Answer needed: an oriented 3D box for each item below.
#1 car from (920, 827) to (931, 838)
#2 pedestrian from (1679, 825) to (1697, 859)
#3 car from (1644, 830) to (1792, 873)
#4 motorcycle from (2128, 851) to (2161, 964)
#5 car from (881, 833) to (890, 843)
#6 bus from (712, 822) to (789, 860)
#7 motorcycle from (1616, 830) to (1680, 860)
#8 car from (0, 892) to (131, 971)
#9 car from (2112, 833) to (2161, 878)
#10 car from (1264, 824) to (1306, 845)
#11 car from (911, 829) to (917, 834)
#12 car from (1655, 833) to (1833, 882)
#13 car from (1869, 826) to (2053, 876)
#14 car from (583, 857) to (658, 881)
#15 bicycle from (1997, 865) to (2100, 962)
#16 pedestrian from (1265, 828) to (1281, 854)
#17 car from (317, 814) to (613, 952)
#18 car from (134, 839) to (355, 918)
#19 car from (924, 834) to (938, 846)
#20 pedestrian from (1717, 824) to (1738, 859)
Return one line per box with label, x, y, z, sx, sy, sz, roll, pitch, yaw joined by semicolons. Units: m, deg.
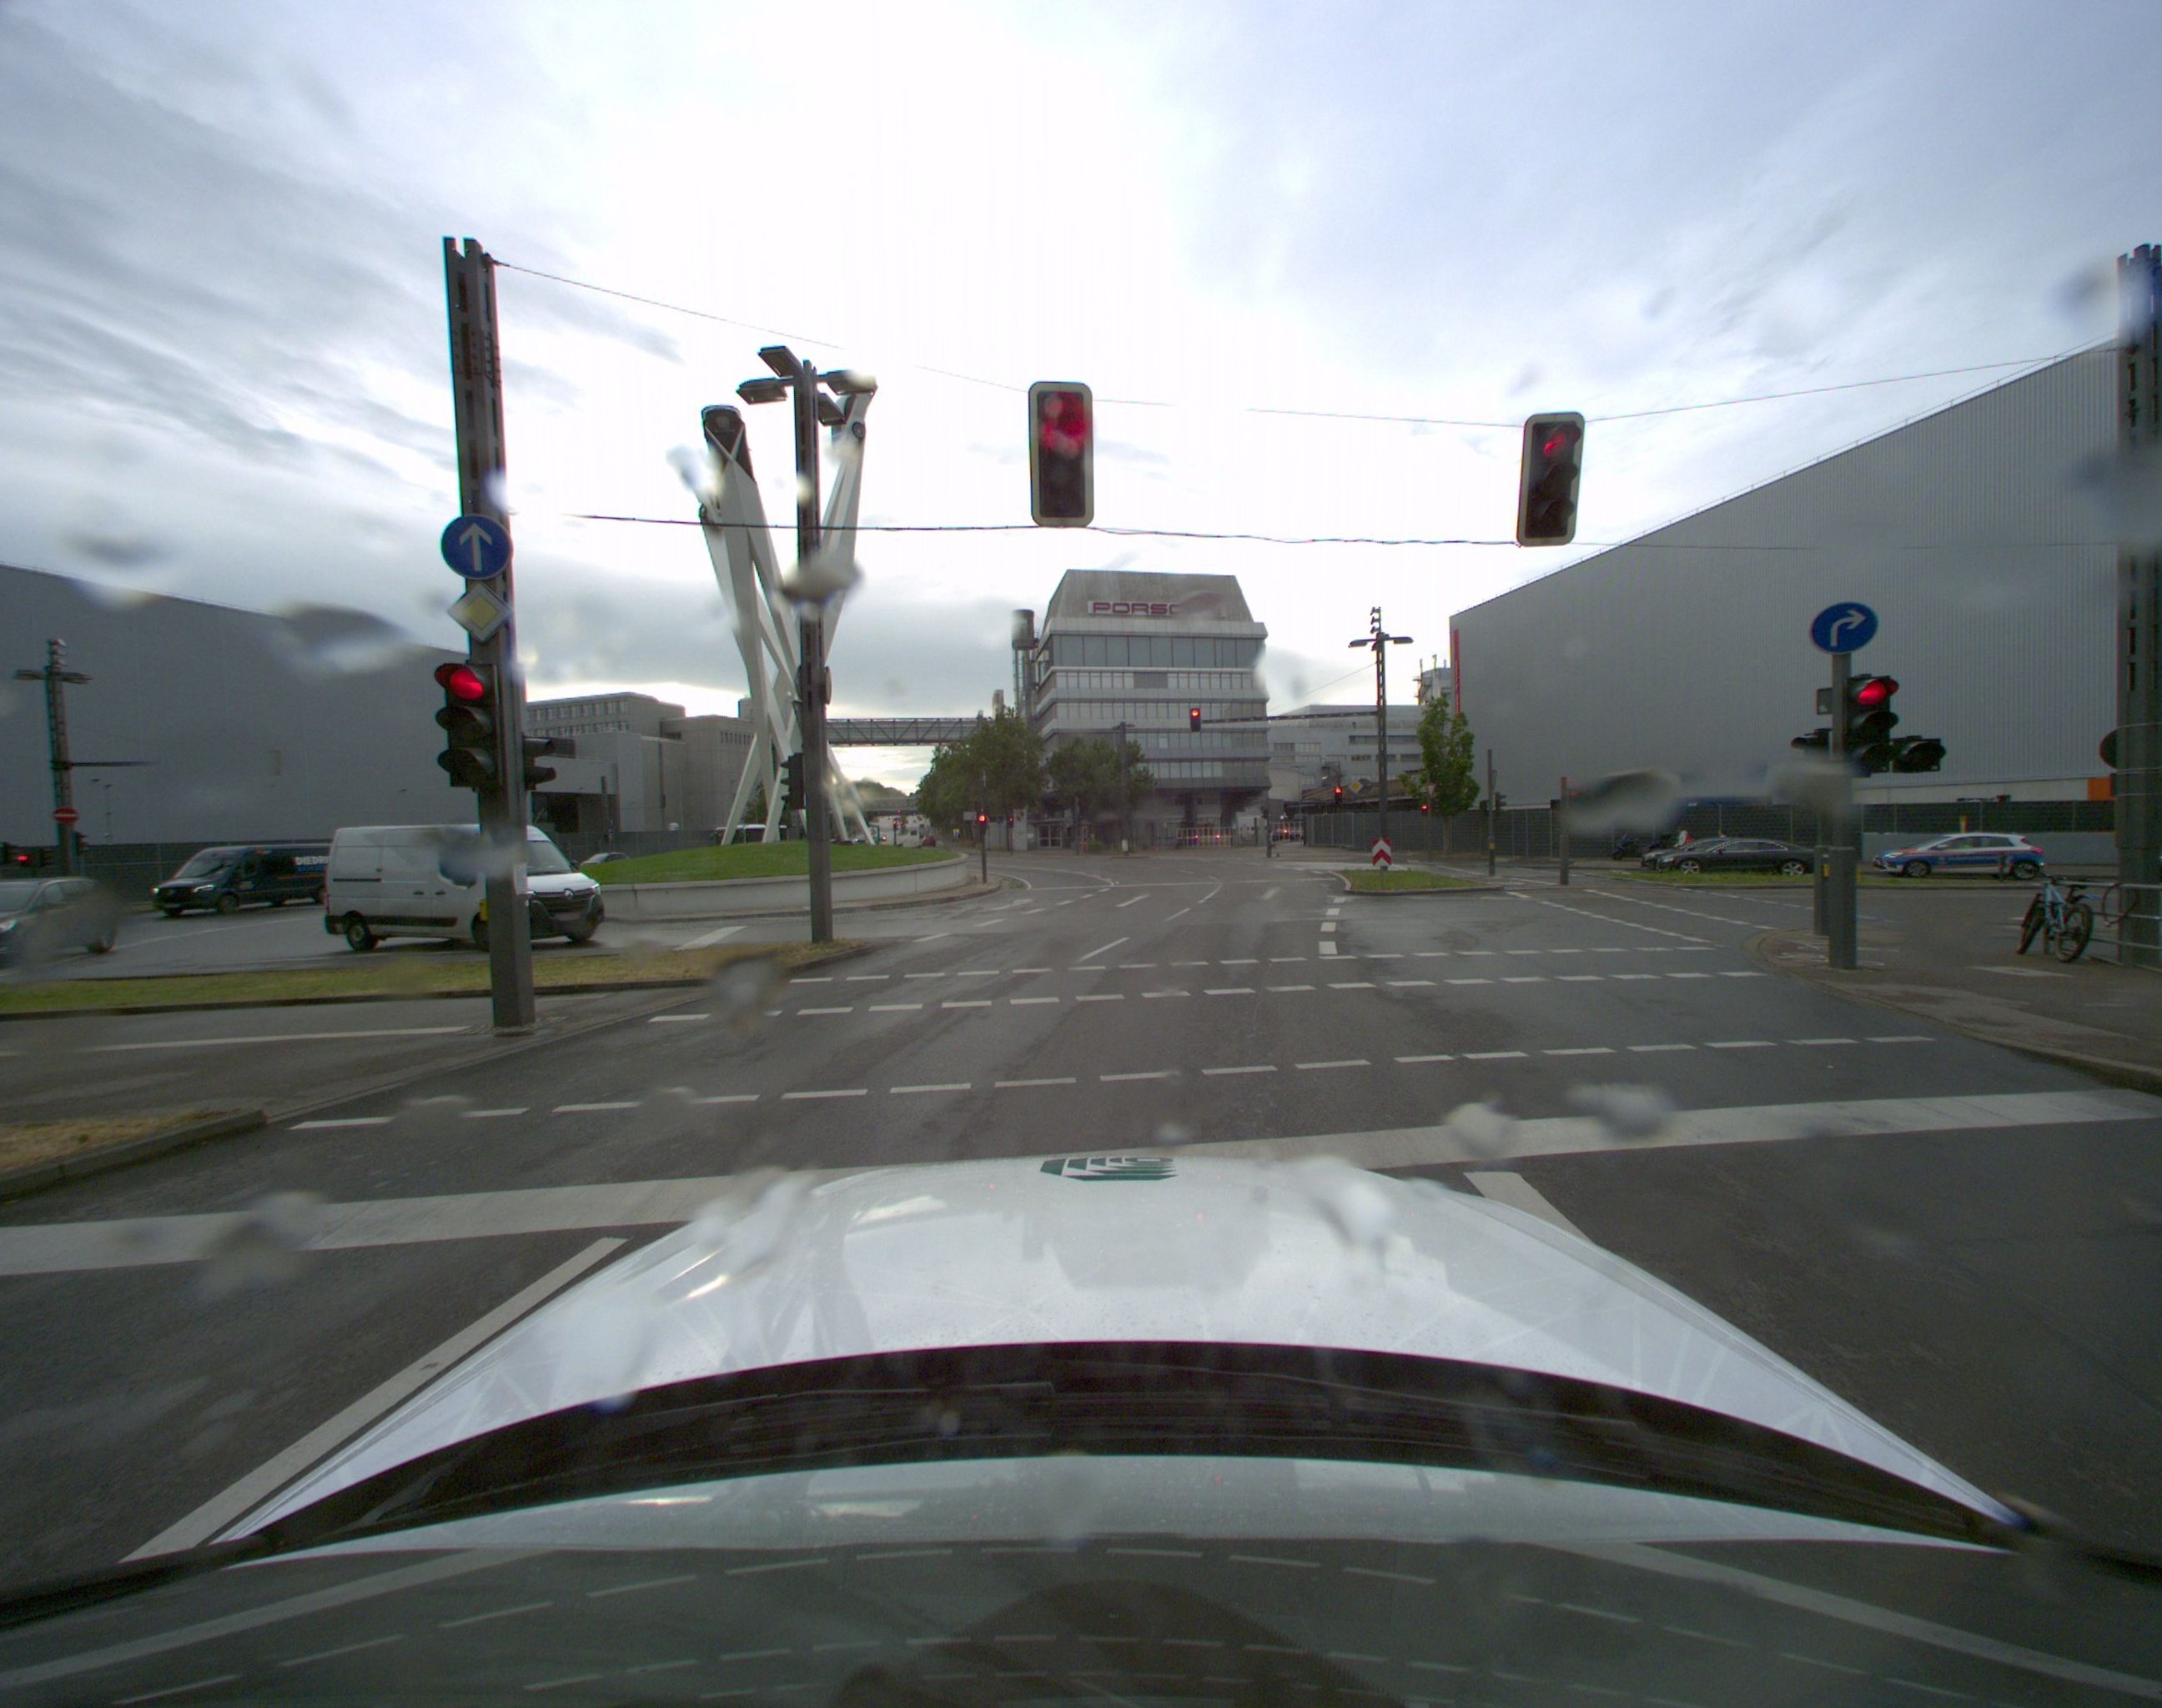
car;-35.397;-4.850;184.995;2.232;2.108;4.938;-2;-1;-9
pedestrian;26.459;-0.525;35.510;0.605;1.481;0.426;-1;0;37
car;24.127;-0.117;31.062;4.244;1.539;1.769;0;2;31
motorcycle;15.131;0.678;10.379;2.213;1.452;0.759;-1;0;12
car;-37.859;-3.119;157.497;1.629;1.816;3.717;-1;1;-13
bus;-30.493;-1.147;75.783;2.663;3.200;12.653;-1;0;-4
motorcycle;25.686;-0.405;36.950;2.330;1.344;0.657;-1;0;30
car;-22.136;1.573;16.854;1.845;1.338;4.442;-2;0;-30
car;35.289;0.034;25.112;3.949;1.392;1.769;0;2;31
car;20.440;-1.967;81.480;1.975;1.969;4.925;-2;1;43
car;-45.141;-6.014;219.731;1.558;1.288;3.399;-2;-1;-12
car;22.611;0.083;28.035;4.525;1.539;1.769;0;2;31
car;30.179;-0.113;28.112;3.930;1.601;1.924;0;1;31
car;-31.401;0.975;55.602;1.756;1.486;4.026;-1;0;38
bicycle;12.407;0.719;10.488;0.381;1.098;1.762;-2;0;35
pedestrian;11.973;-0.801;50.747;0.801;1.611;0.773;-2;-1;19
car;-12.323;0.571;16.309;5.364;2.447;2.010;-2;0;19
car;-33.759;0.866;33.347;1.963;2.820;7.118;-2;0;-4
car;-20.387;-1.854;110.402;1.774;1.464;3.716;-2;-1;-12
pedestrian;27.255;-0.527;34.317;0.642;1.481;0.442;-1;0;35
